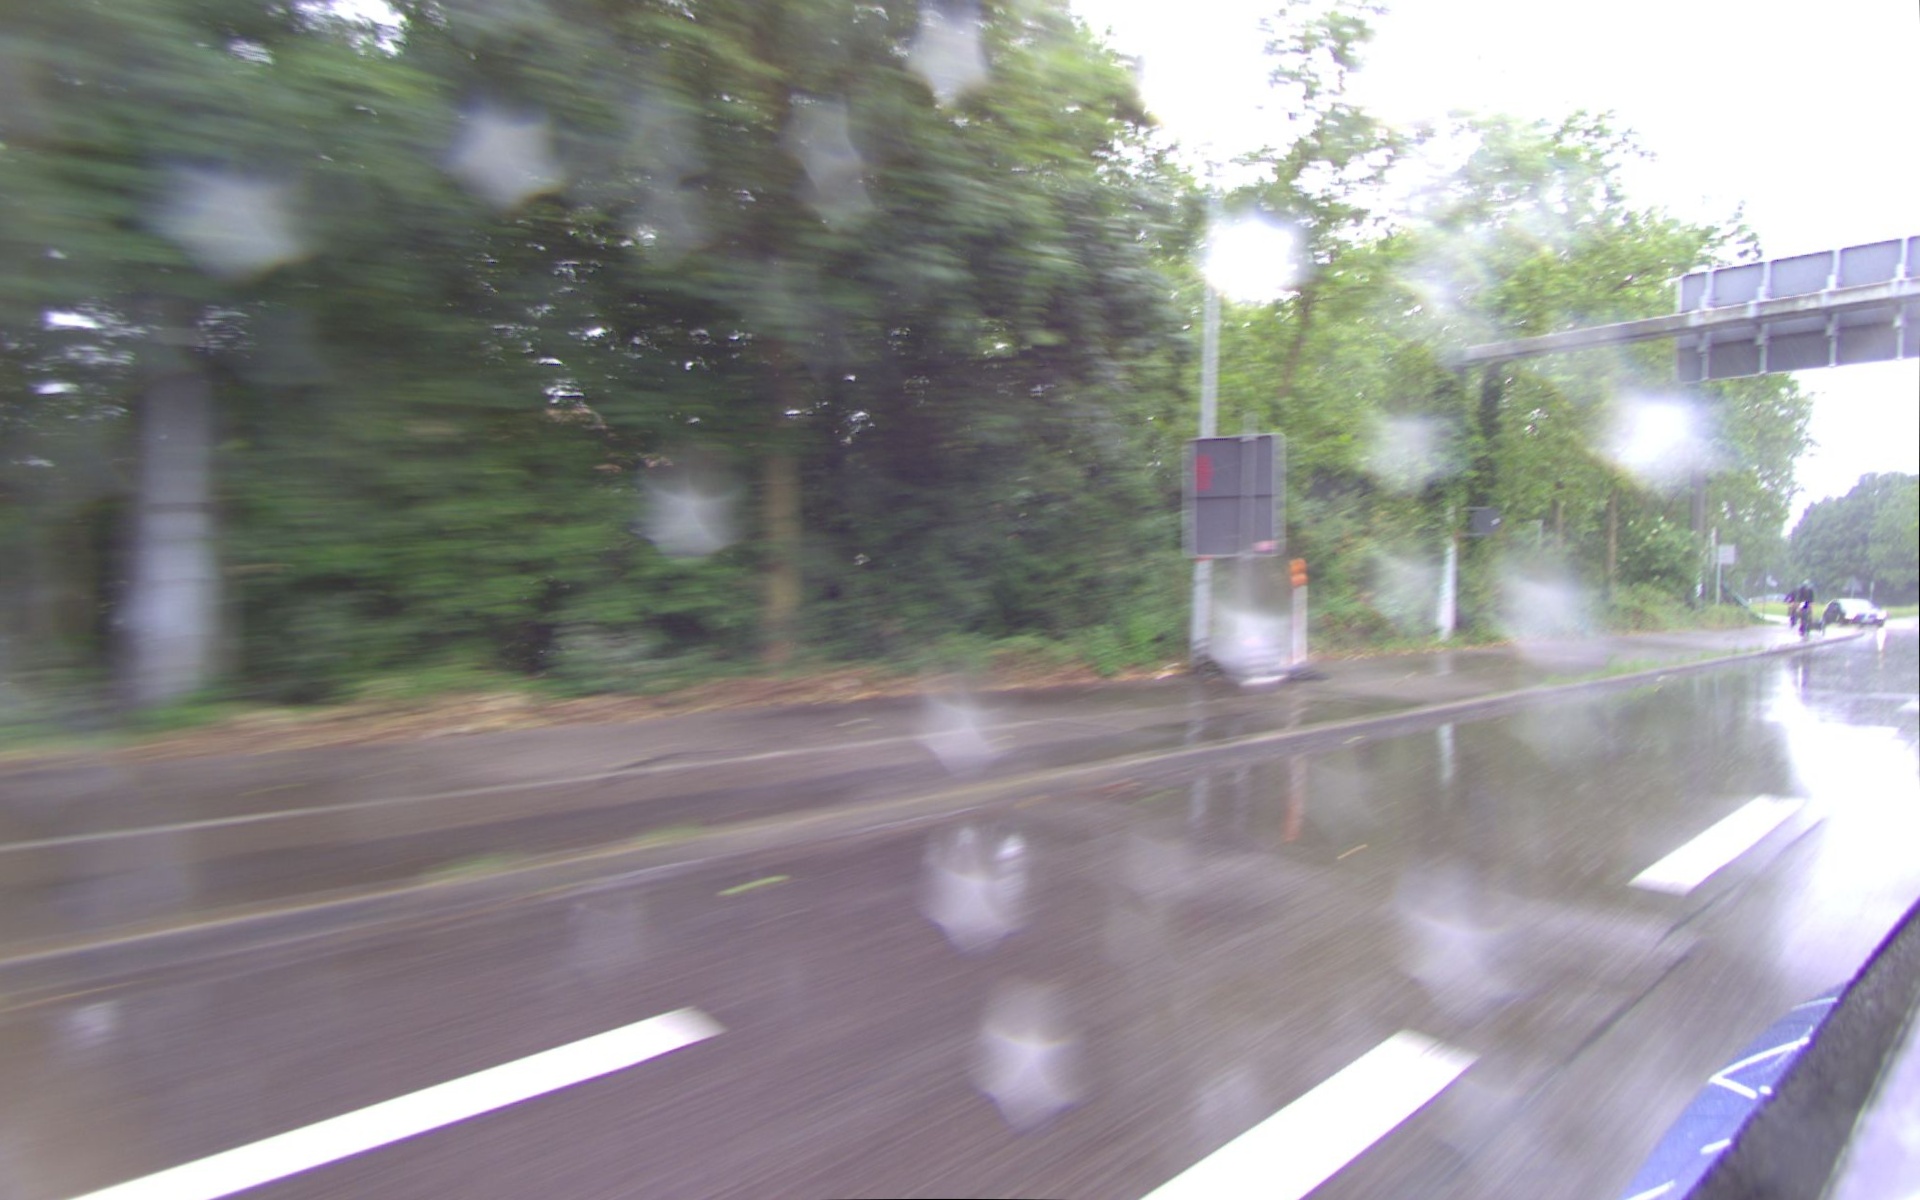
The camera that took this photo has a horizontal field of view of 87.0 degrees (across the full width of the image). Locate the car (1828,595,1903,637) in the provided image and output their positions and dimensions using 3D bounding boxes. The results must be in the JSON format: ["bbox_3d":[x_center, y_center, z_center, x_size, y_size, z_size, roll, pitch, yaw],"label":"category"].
[{"bbox_3d":[47.947,0.807,53.670,1.981,2.039,3.962,1,1,27],"label":"car"}]

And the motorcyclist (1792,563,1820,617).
[{"bbox_3d":[36.477,-0.427,43.633,0.900,2.287,0.762,-1,1,-41],"label":"motorcyclist"}]

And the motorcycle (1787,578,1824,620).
[{"bbox_3d":[36.461,-0.050,43.610,2.541,1.742,0.844,0,1,-42],"label":"motorcycle"}]
